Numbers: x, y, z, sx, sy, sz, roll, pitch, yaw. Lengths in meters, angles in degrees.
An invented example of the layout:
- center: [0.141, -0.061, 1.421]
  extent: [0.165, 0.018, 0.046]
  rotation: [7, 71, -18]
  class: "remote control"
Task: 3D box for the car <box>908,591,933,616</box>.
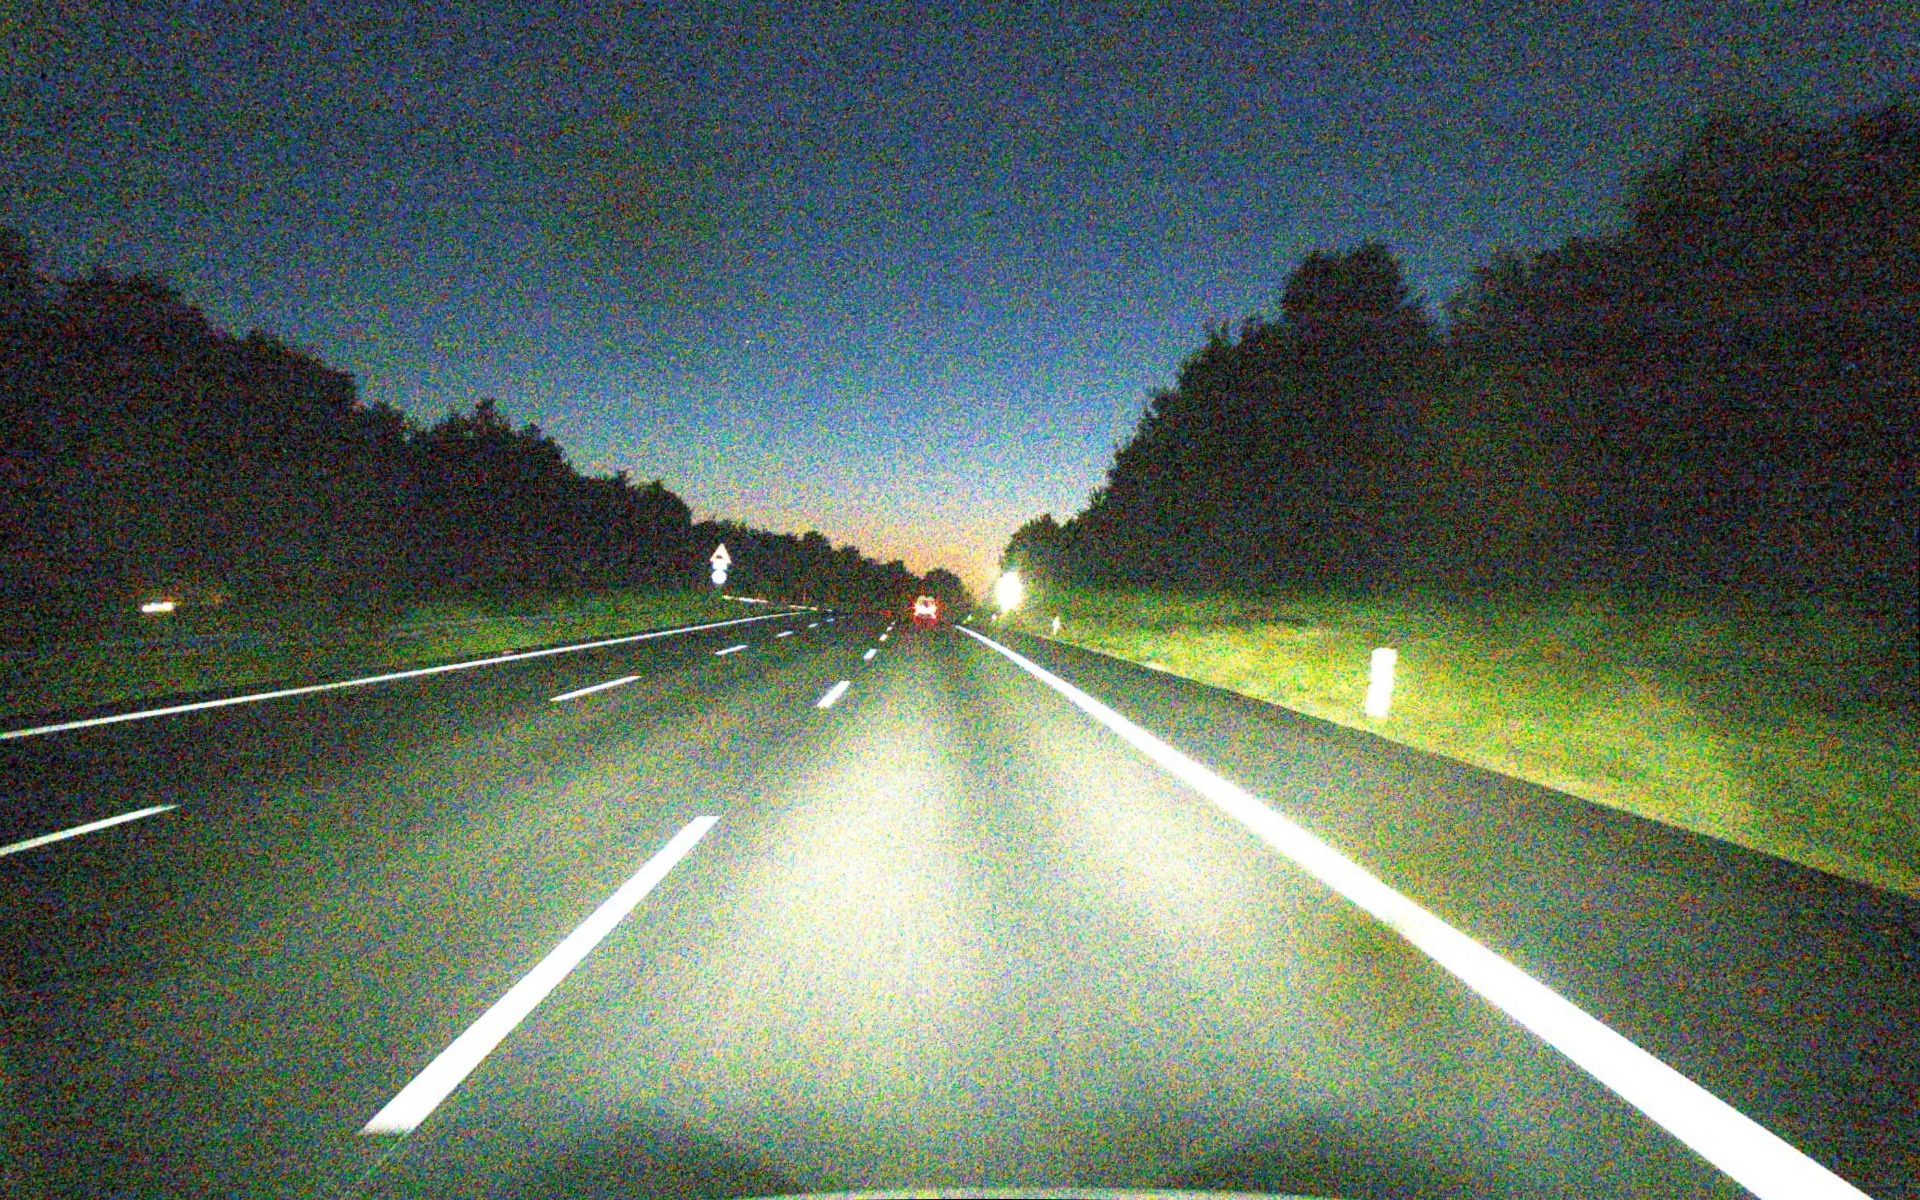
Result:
- center: [-4.307, 0.364, 180.364]
  extent: [2.476, 2.598, 6.051]
  rotation: [2, 0, 0]
  class: "car"
